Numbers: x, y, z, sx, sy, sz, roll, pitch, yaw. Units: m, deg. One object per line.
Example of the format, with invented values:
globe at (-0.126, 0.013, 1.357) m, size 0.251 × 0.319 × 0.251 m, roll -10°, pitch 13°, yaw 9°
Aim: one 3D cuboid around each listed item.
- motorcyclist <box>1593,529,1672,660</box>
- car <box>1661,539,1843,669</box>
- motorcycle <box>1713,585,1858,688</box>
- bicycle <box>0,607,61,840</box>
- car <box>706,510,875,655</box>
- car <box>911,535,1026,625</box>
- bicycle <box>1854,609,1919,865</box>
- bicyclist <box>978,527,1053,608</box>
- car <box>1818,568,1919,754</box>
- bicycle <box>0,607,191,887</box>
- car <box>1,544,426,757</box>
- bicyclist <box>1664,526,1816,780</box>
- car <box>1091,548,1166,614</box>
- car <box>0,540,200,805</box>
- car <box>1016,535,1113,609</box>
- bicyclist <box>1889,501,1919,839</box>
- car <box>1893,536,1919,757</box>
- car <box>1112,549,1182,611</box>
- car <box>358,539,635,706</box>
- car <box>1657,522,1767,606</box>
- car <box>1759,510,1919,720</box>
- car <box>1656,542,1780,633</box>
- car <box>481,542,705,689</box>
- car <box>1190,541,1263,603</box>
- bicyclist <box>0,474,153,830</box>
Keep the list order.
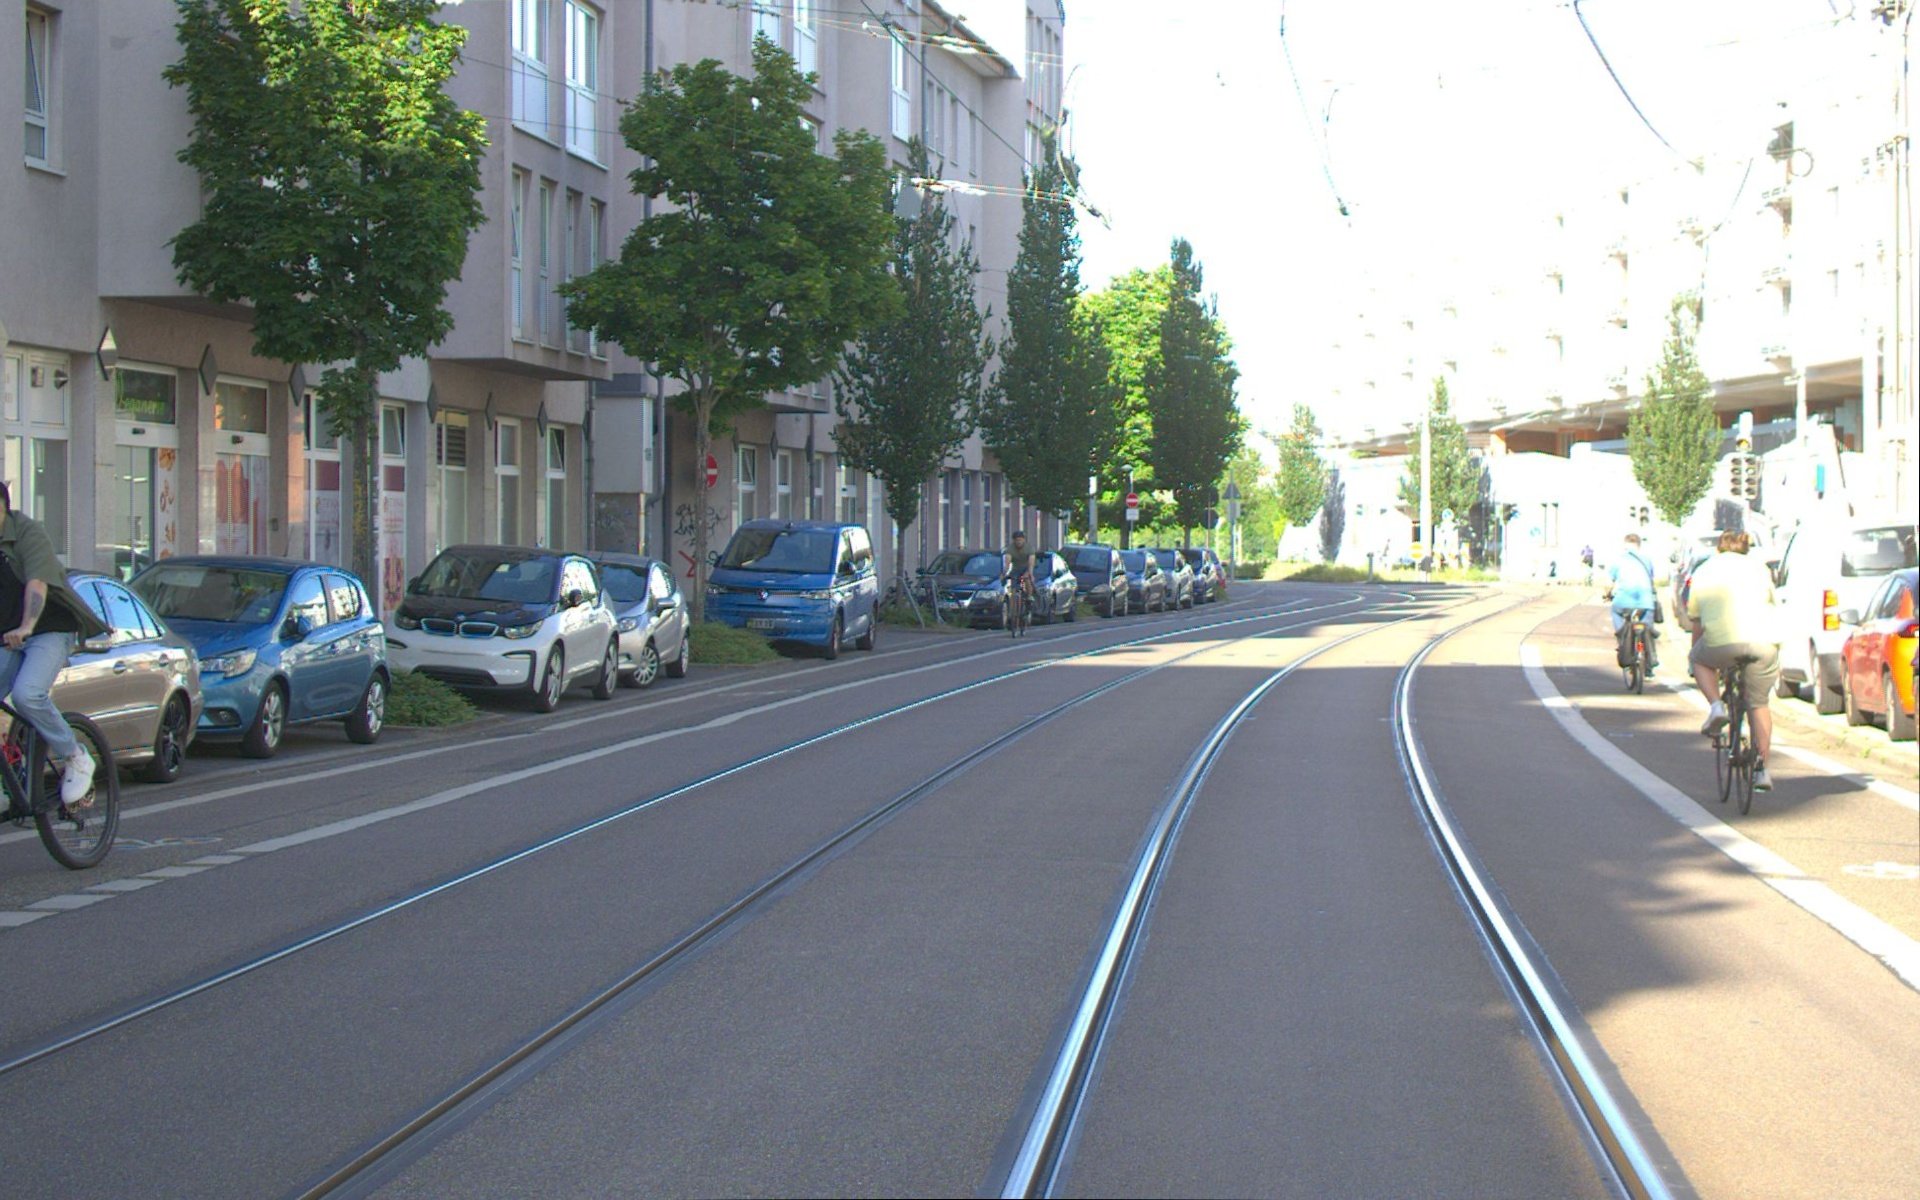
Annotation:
motorcyclist at (7.280, -0.070, 37.254) m, size 0.728 × 1.401 × 1.020 m, roll 0°, pitch 1°, yaw 5°
car at (10.498, 0.012, 45.858) m, size 1.844 × 1.640 × 4.548 m, roll 0°, pitch 1°, yaw 6°
motorcycle at (9.609, 0.412, 40.077) m, size 0.490 × 1.140 × 1.771 m, roll 0°, pitch 1°, yaw -34°
bicycle at (-5.362, 0.667, 16.719) m, size 0.839 × 1.145 × 2.231 m, roll -4°, pitch 1°, yaw 15°
car at (-2.376, -0.283, 49.123) m, size 1.665 × 1.980 × 4.342 m, roll 0°, pitch 1°, yaw 7°
car at (0.188, -0.404, 64.426) m, size 1.665 × 1.612 × 3.999 m, roll 0°, pitch 1°, yaw 7°
bicycle at (5.256, 0.719, 17.572) m, size 0.821 × 1.232 × 2.462 m, roll 4°, pitch 1°, yaw 5°
bicyclist at (0.916, -0.538, 56.803) m, size 1.183 × 1.326 × 1.095 m, roll 0°, pitch 1°, yaw 4°
car at (8.617, 0.486, 29.777) m, size 1.796 × 1.478 × 3.778 m, roll 0°, pitch 1°, yaw 6°
bicycle at (-4.359, 0.640, 15.588) m, size 0.839 × 1.145 × 2.232 m, roll -1°, pitch 1°, yaw 12°
car at (-5.761, 0.344, 27.053) m, size 1.830 × 1.484 × 3.998 m, roll -2°, pitch 1°, yaw 10°
bicyclist at (4.604, 0.296, 20.355) m, size 0.728 × 1.457 × 1.020 m, roll 0°, pitch 1°, yaw 5°
car at (4.072, -0.477, 82.805) m, size 1.592 × 1.535 × 3.190 m, roll 0°, pitch 1°, yaw 6°
car at (-6.174, 0.381, 21.143) m, size 1.744 × 1.438 × 3.999 m, roll 3°, pitch 1°, yaw 5°
car at (2.425, -0.656, 78.812) m, size 1.844 × 1.640 × 4.548 m, roll 0°, pitch 1°, yaw 6°
bicyclist at (5.232, 0.342, 17.240) m, size 0.934 × 1.670 × 0.969 m, roll 0°, pitch 1°, yaw 5°
car at (7.942, 0.339, 24.831) m, size 1.661 × 1.664 × 3.903 m, roll -3°, pitch 1°, yaw 6°
car at (4.740, -0.520, 86.999) m, size 1.592 × 1.535 × 3.190 m, roll 0°, pitch 1°, yaw 6°
car at (-4.670, 0.181, 35.202) m, size 1.830 × 1.588 × 3.999 m, roll 0°, pitch 1°, yaw 8°
car at (16.105, -0.788, 73.779) m, size 1.844 × 1.750 × 4.548 m, roll 0°, pitch 1°, yaw 6°
car at (9.186, 0.092, 34.517) m, size 1.787 × 1.964 × 4.153 m, roll -1°, pitch 1°, yaw 7°
car at (14.133, -0.259, 64.238) m, size 1.844 × 1.640 × 3.964 m, roll 0°, pitch 1°, yaw 6°
car at (-4.194, 0.136, 39.848) m, size 1.830 × 1.588 × 3.999 m, roll 0°, pitch 1°, yaw 5°
car at (7.200, -0.768, 92.657) m, size 1.844 × 1.640 × 3.697 m, roll 0°, pitch 1°, yaw 6°
bicyclist at (-4.322, 0.235, 15.643) m, size 0.882 × 1.556 × 0.867 m, roll -3°, pitch 1°, yaw 14°
